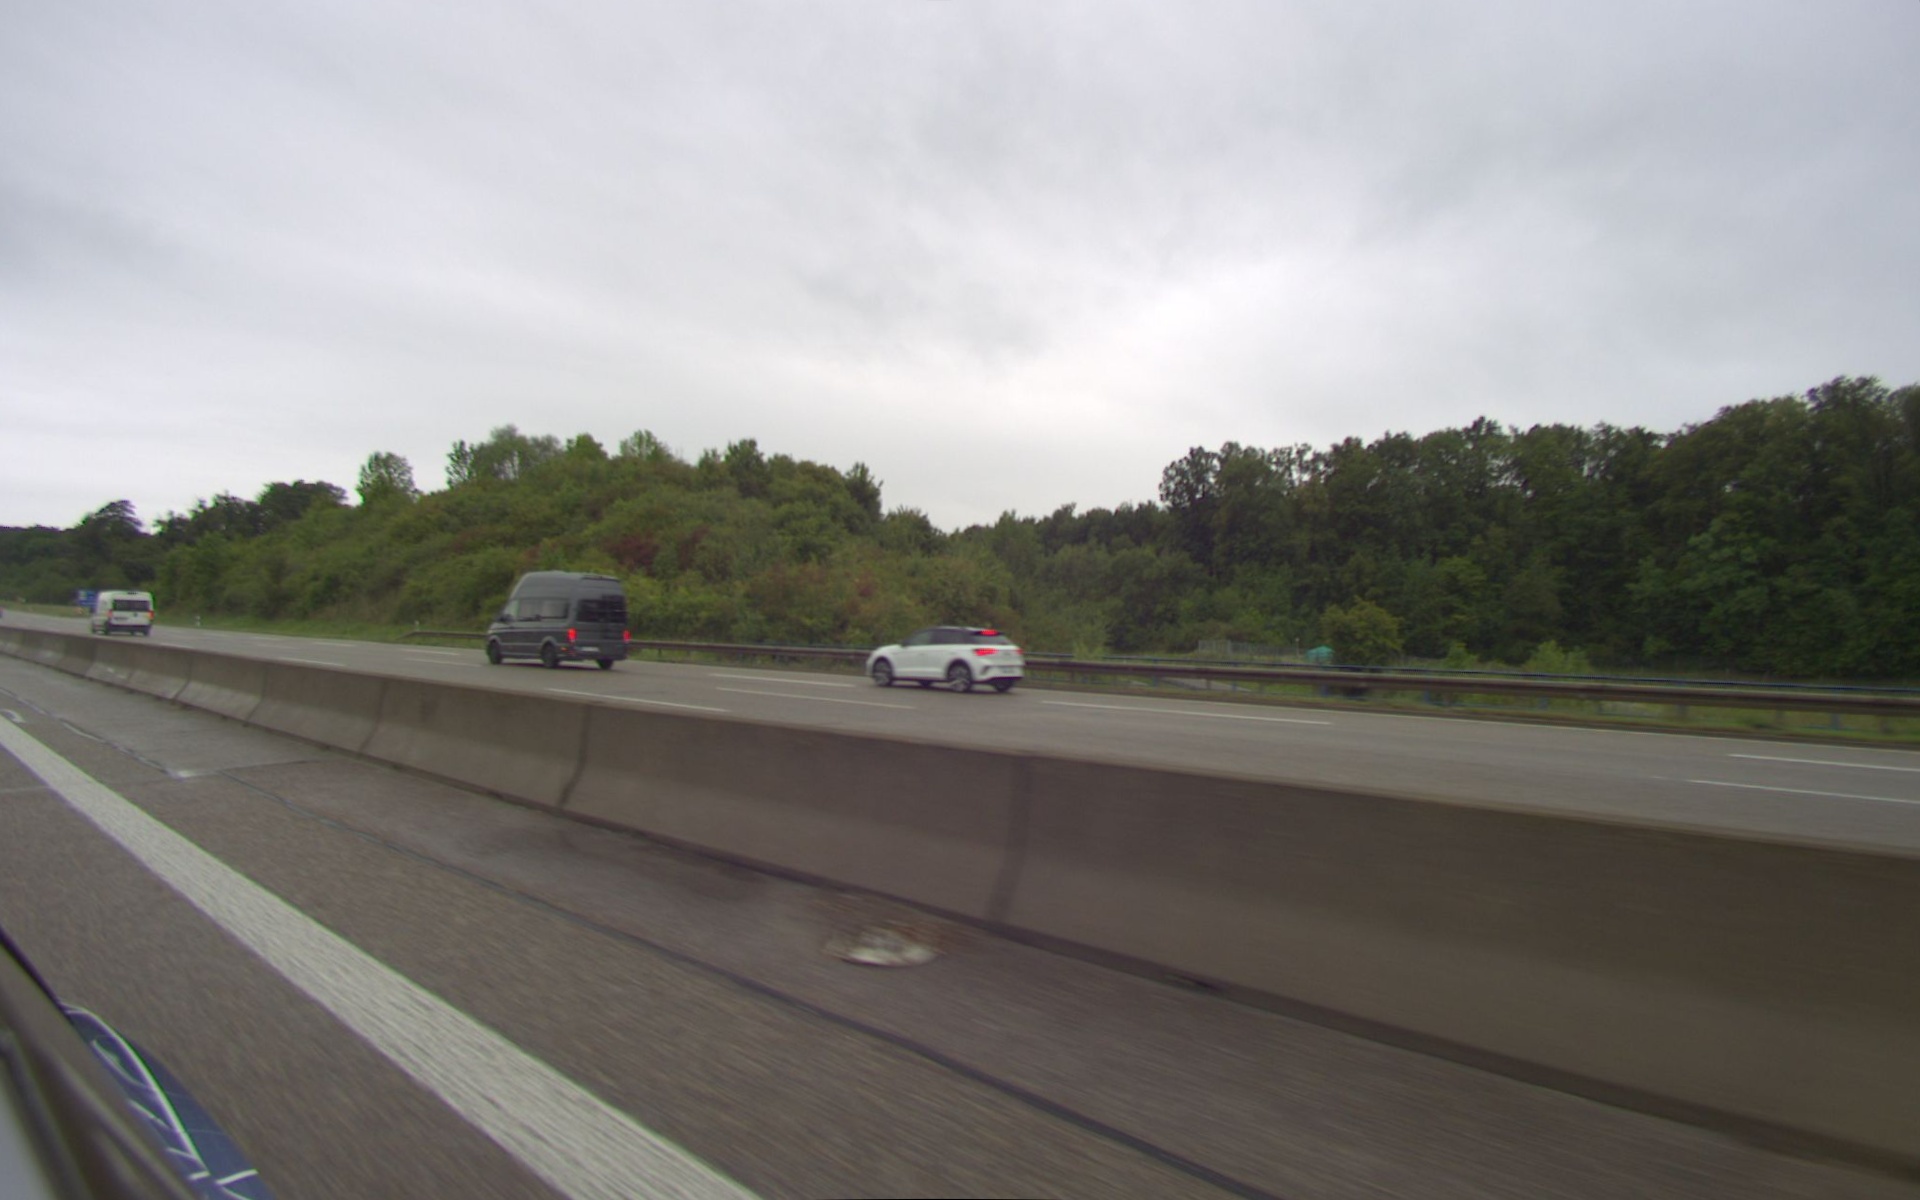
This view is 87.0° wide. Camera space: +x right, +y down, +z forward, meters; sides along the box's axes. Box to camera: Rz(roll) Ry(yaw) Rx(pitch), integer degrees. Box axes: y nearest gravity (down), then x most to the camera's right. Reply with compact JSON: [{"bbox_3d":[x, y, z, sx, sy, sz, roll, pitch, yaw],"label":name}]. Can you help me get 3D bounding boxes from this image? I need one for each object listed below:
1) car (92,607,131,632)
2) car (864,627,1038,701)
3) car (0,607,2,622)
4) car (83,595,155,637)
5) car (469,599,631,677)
[{"bbox_3d":[-68.618,1.583,81.831,4.528,1.918,1.723,0,-2,42],"label":"car"},{"bbox_3d":[-0.269,1.515,24.635,4.143,1.597,1.697,0,-3,41],"label":"car"},{"bbox_3d":[-108.436,1.581,112.811,4.915,1.701,1.972,0,-2,42],"label":"car"},{"bbox_3d":[-48.941,0.960,58.855,6.172,2.349,2.253,-1,-2,41],"label":"car"},{"bbox_3d":[-12.827,1.135,31.414,6.414,2.184,1.972,-1,-2,42],"label":"car"}]
